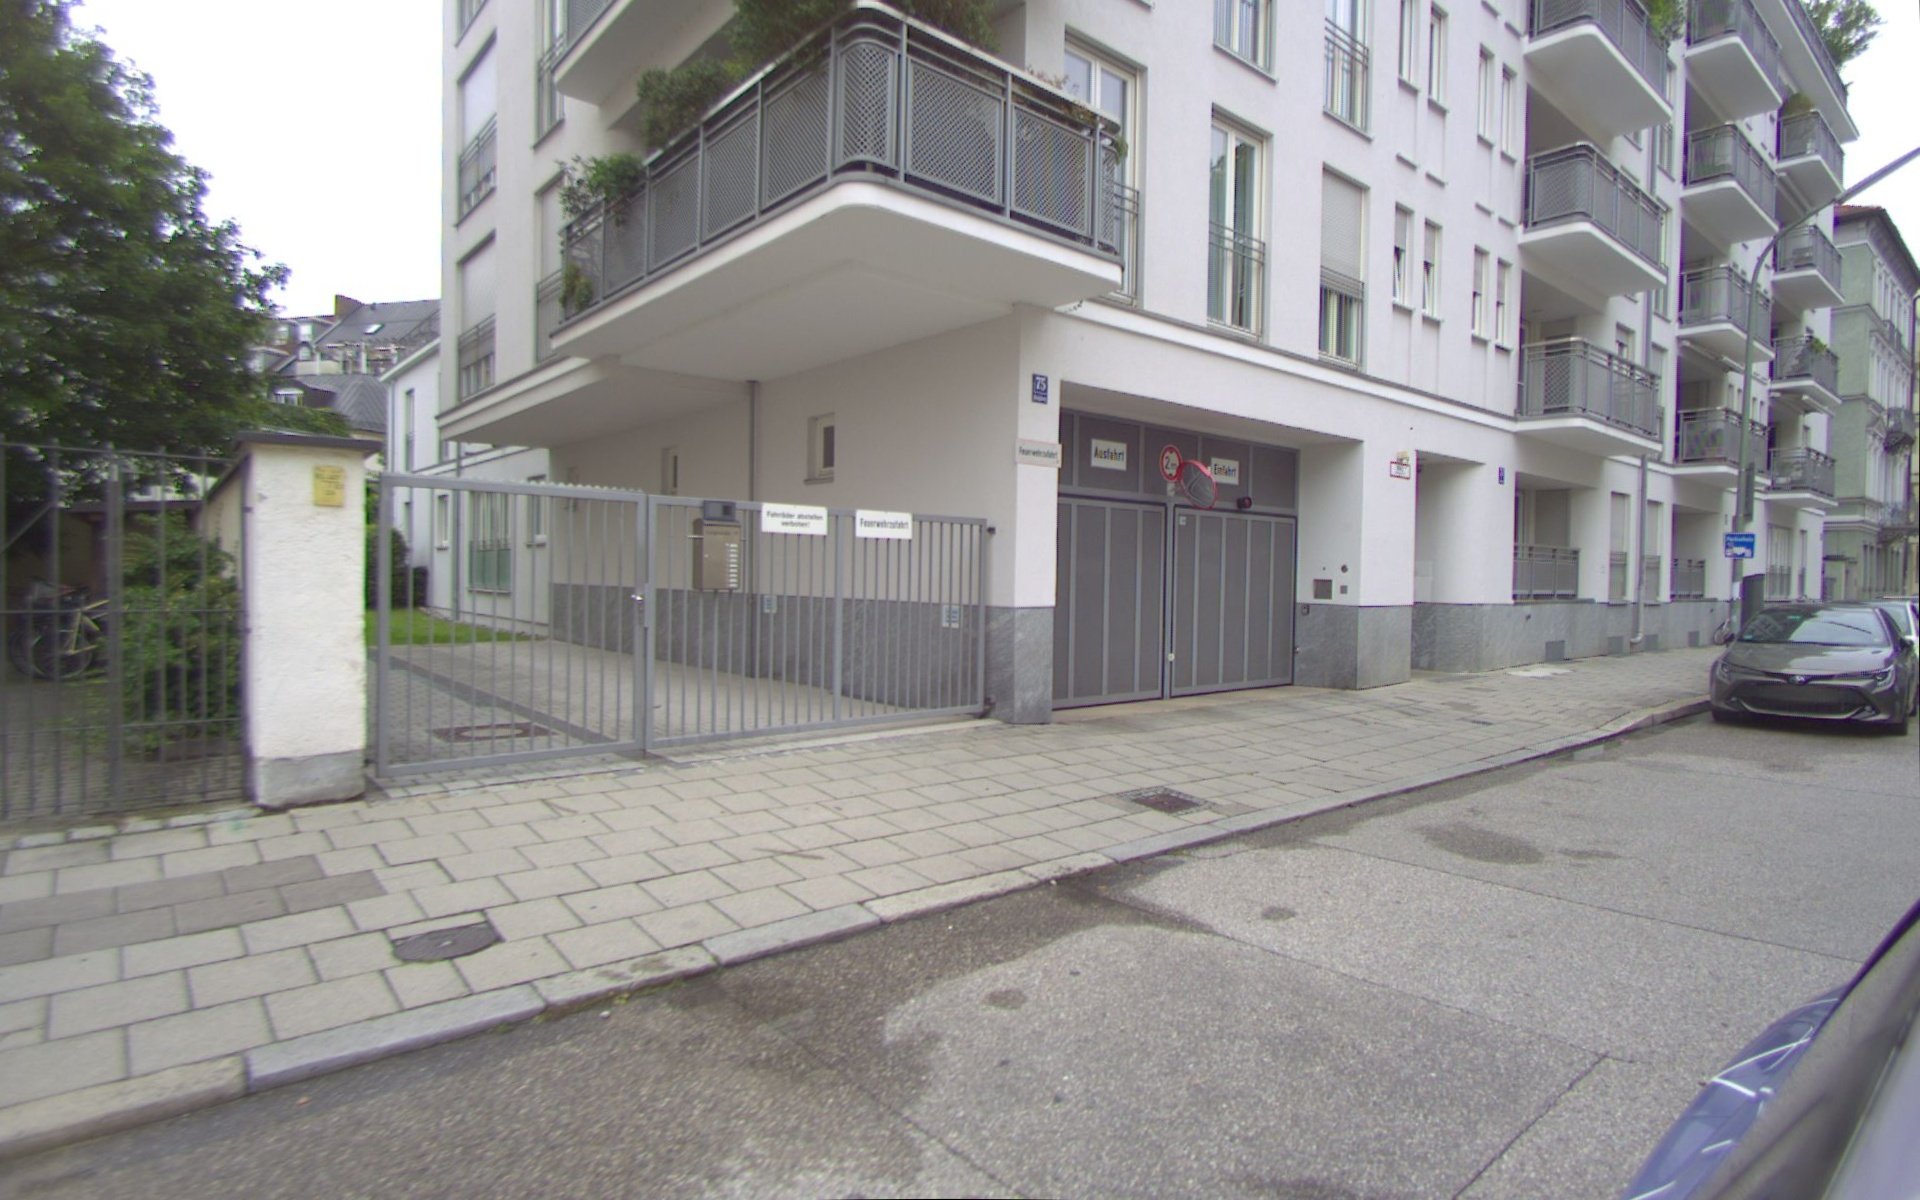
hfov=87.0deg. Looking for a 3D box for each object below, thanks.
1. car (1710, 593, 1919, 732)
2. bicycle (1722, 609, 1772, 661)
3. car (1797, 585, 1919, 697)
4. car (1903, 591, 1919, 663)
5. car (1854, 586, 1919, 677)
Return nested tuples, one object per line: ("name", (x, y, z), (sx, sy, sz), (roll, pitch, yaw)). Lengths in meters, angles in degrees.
("car", (10.732, 0.634, 12.476), (4.011, 1.425, 1.764), (0, 1, -44))
("bicycle", (18.763, 0.814, 24.108), (2.092, 1.175, 0.628), (1, 1, -44))
("car", (14.249, 0.590, 15.641), (3.466, 1.550, 1.521), (1, -1, -42))
("car", (22.446, 0.575, 22.679), (3.916, 1.550, 1.605), (0, -2, -43))
("car", (18.122, 0.551, 18.824), (4.543, 1.550, 1.735), (0, -2, -43))
